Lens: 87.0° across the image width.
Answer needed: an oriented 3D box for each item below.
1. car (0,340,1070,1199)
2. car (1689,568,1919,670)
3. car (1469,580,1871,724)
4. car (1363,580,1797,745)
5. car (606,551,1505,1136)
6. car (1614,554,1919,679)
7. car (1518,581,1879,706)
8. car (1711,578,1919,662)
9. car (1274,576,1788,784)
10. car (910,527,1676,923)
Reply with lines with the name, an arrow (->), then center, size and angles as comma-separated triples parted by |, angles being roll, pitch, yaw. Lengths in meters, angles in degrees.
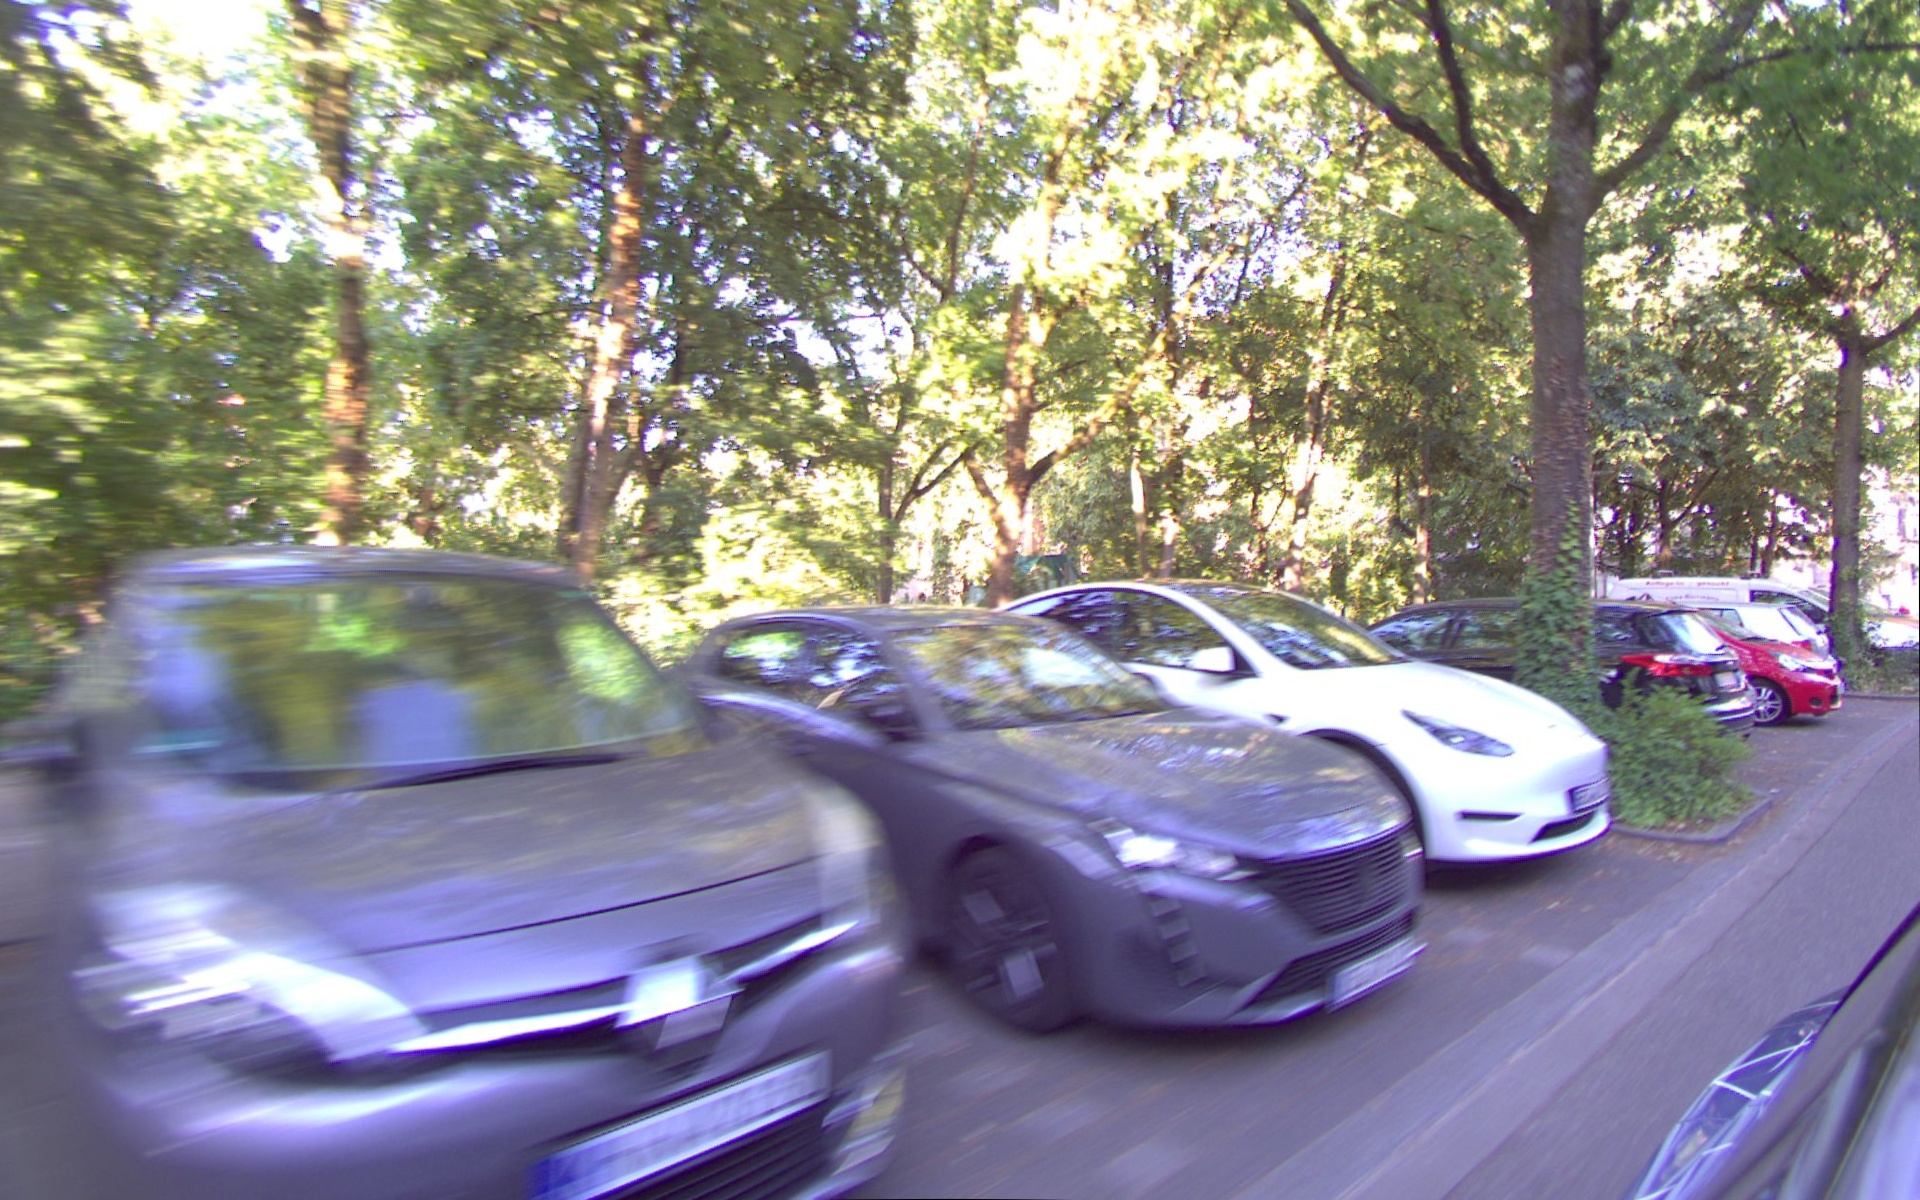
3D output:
car -> -1.909, 0.619, 3.396 | 1.874, 1.730, 4.379 | 0, -2, -42
car -> 16.665, 0.368, 19.369 | 1.764, 1.780, 3.999 | -1, -1, -34
car -> 9.060, 0.623, 13.213 | 1.559, 1.594, 3.994 | 0, -2, -40
car -> 7.017, 0.655, 11.821 | 1.559, 1.594, 3.994 | 0, -2, -40
car -> -0.025, 0.701, 4.989 | 1.843, 1.552, 4.382 | 0, -1, -40
car -> 14.567, 0.194, 17.924 | 1.839, 1.948, 4.682 | 0, 2, -39
car -> 10.805, 0.608, 15.092 | 1.634, 1.594, 3.998 | -1, -1, -36
car -> 18.460, 0.421, 21.271 | 1.768, 1.648, 3.991 | 0, -2, -42
car -> 5.276, 0.668, 9.831 | 1.559, 1.594, 4.028 | 0, -2, -40
car -> 1.783, 0.599, 6.763 | 1.874, 1.718, 4.540 | 0, -1, -40
